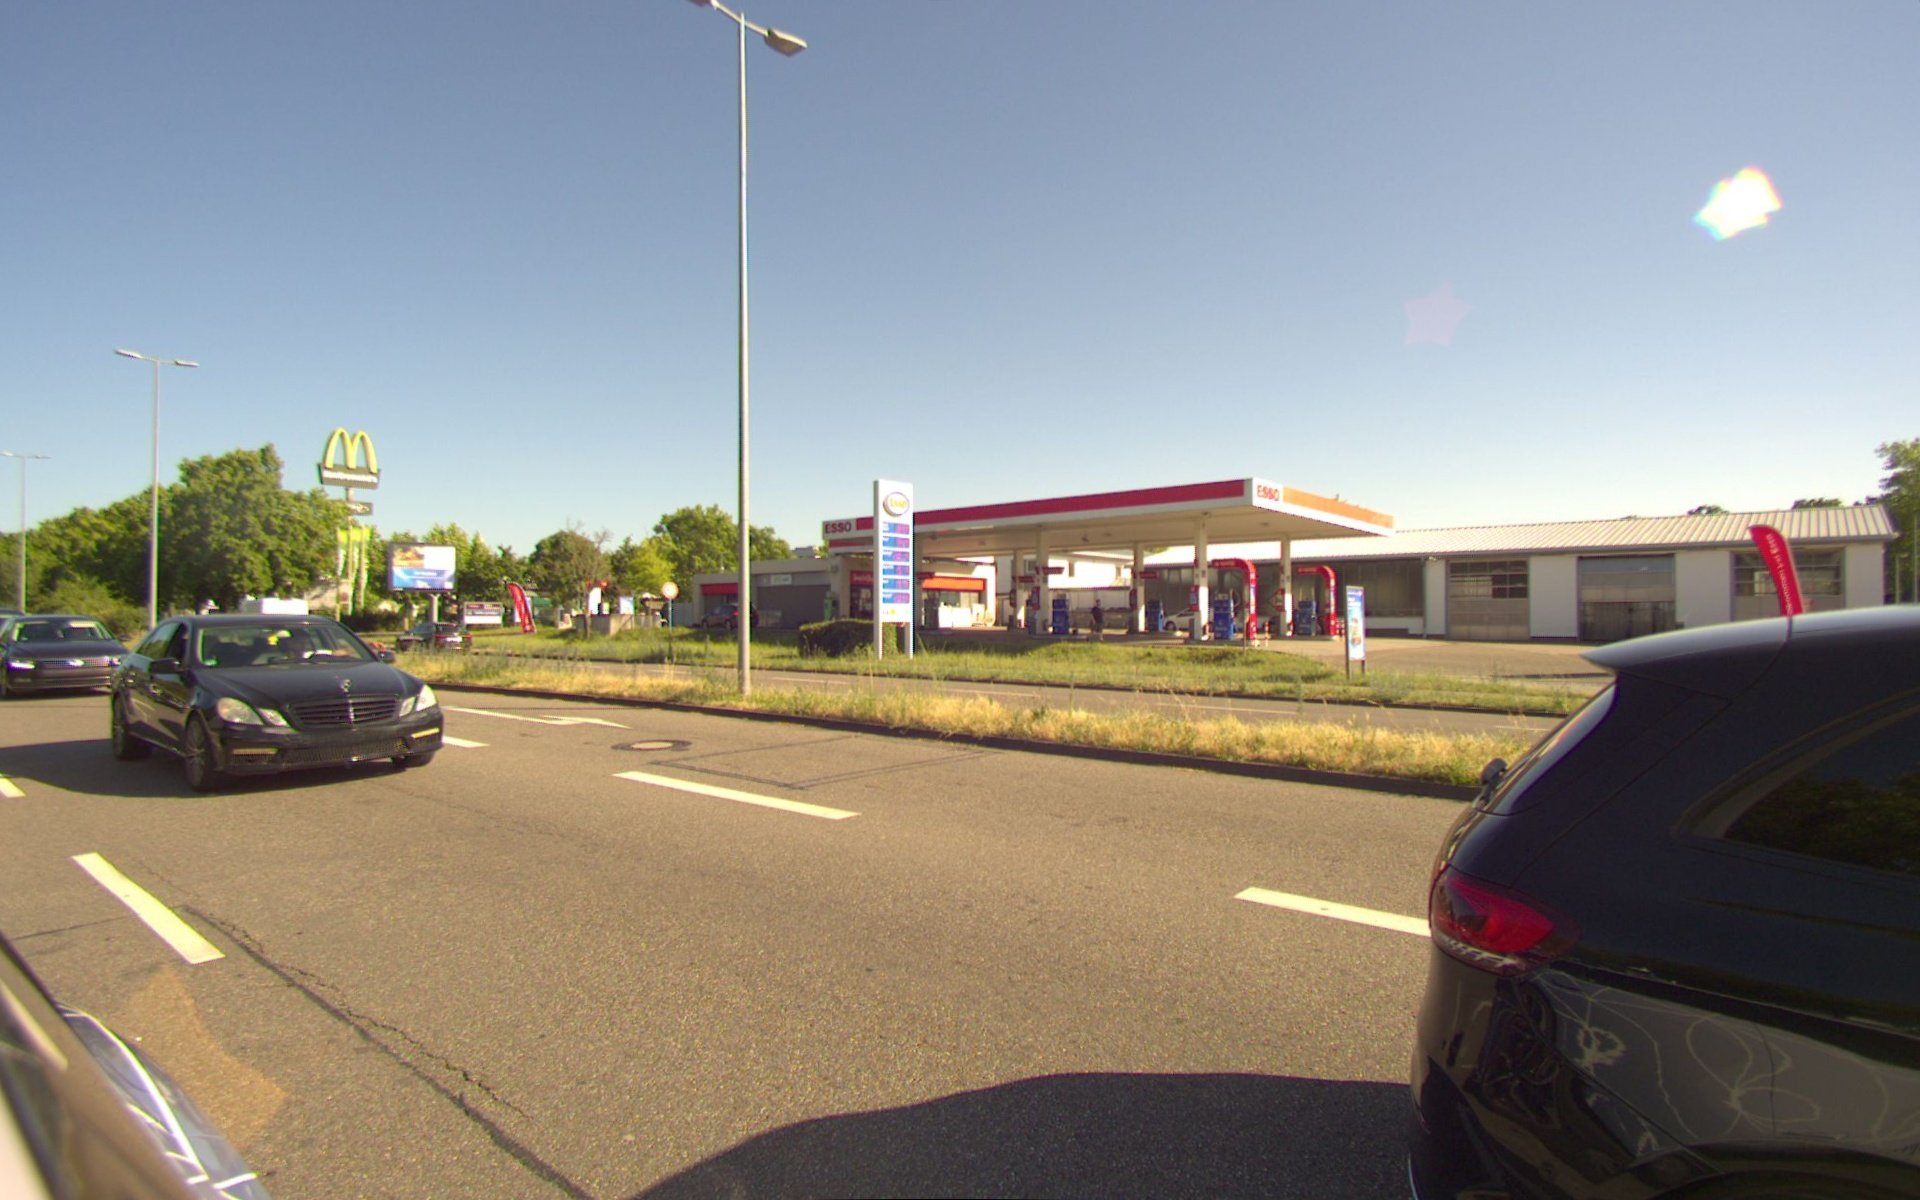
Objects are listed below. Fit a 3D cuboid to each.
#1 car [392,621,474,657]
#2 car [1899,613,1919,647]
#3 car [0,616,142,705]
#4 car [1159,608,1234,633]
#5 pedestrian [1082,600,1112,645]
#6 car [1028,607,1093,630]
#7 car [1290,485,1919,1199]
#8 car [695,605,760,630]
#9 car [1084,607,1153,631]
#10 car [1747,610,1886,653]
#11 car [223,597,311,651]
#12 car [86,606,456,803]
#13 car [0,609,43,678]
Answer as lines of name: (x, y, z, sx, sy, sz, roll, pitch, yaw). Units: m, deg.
car: (-23.989, 1.758, 45.977, 4.476, 1.502, 1.740, -1, -4, 41)
car: (42.113, 1.289, 44.063, 1.653, 1.375, 3.723, 0, 0, 41)
car: (-16.839, 1.037, 18.790, 4.284, 1.438, 1.775, -1, 0, 40)
car: (13.974, 1.205, 59.909, 3.975, 1.420, 1.661, 0, -3, 40)
pedestrian: (5.434, 0.888, 40.123, 0.902, 1.763, 0.781, 0, 0, 37)
car: (6.556, 1.225, 66.430, 3.975, 1.420, 1.661, 0, -3, 40)
car: (2.838, 0.626, 1.108, 4.398, 1.502, 1.742, 0, -2, 39)
car: (-13.792, 1.050, 59.957, 3.975, 1.420, 1.661, 0, -3, 40)
car: (9.961, 1.215, 63.640, 3.975, 1.420, 1.661, 0, -3, 40)
car: (33.261, 1.200, 39.365, 1.757, 1.528, 4.003, -1, 0, -44)
car: (-34.419, 1.163, 50.213, 5.817, 2.466, 2.002, 0, -4, 40)
car: (-6.789, 0.805, 9.779, 4.400, 1.449, 1.845, 0, 0, 40)
car: (-24.465, 1.062, 25.385, 3.876, 1.629, 1.653, -1, 0, 40)
